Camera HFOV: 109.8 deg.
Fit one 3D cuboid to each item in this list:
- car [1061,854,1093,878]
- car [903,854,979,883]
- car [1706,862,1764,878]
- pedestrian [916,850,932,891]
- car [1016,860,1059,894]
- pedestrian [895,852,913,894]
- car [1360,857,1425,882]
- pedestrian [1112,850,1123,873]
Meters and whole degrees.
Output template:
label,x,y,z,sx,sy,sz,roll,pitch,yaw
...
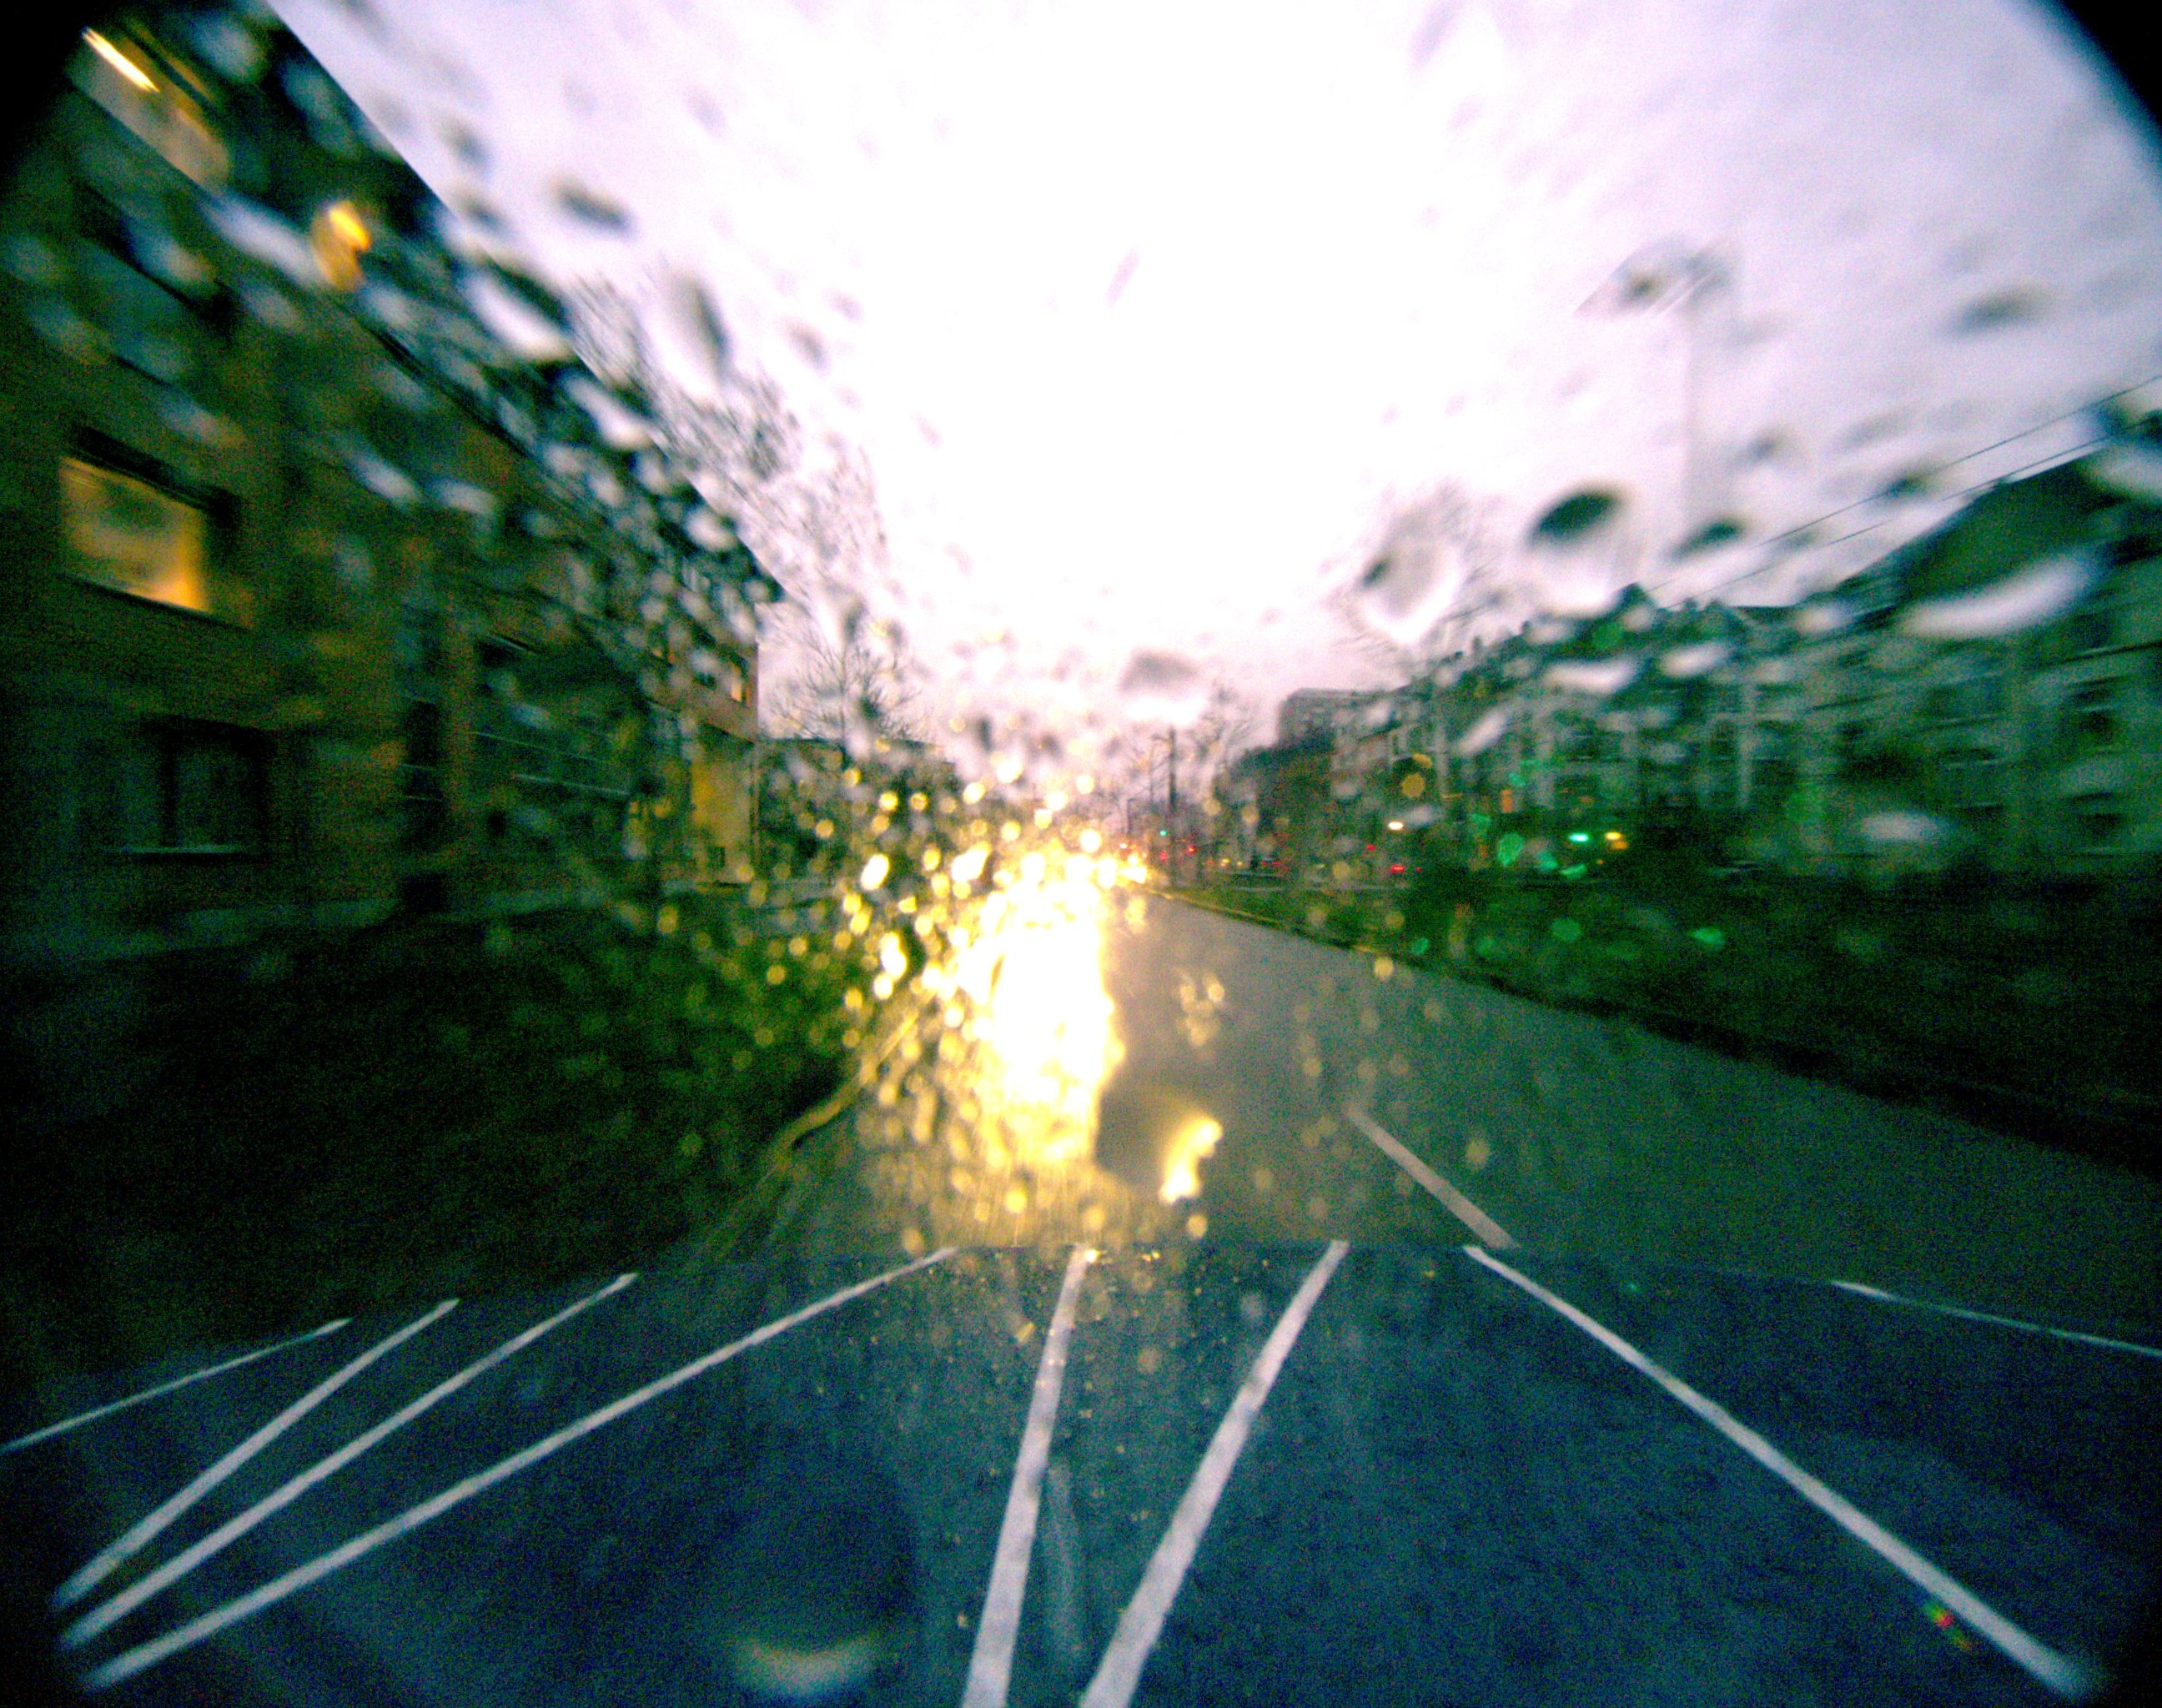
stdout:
label,x,y,z,sx,sy,sz,roll,pitch,yaw
car,-0.324,0.771,49.970,1.814,1.487,4.052,-2,0,-4
car,-7.908,0.824,43.092,3.998,1.546,1.742,1,0,-3
car,43.988,1.083,51.128,2.898,1.069,1.331,0,0,-4
pedestrian,-7.036,0.724,34.060,0.506,1.814,0.656,0,0,-30
car,-2.023,1.011,34.873,1.814,1.384,4.052,-2,0,-4
pedestrian,-7.407,0.789,31.722,0.506,1.732,0.656,0,1,-37
car,19.600,0.955,48.046,1.870,1.444,4.697,0,0,-4
pedestrian,3.218,0.676,67.528,0.877,2.002,0.931,1,1,7
